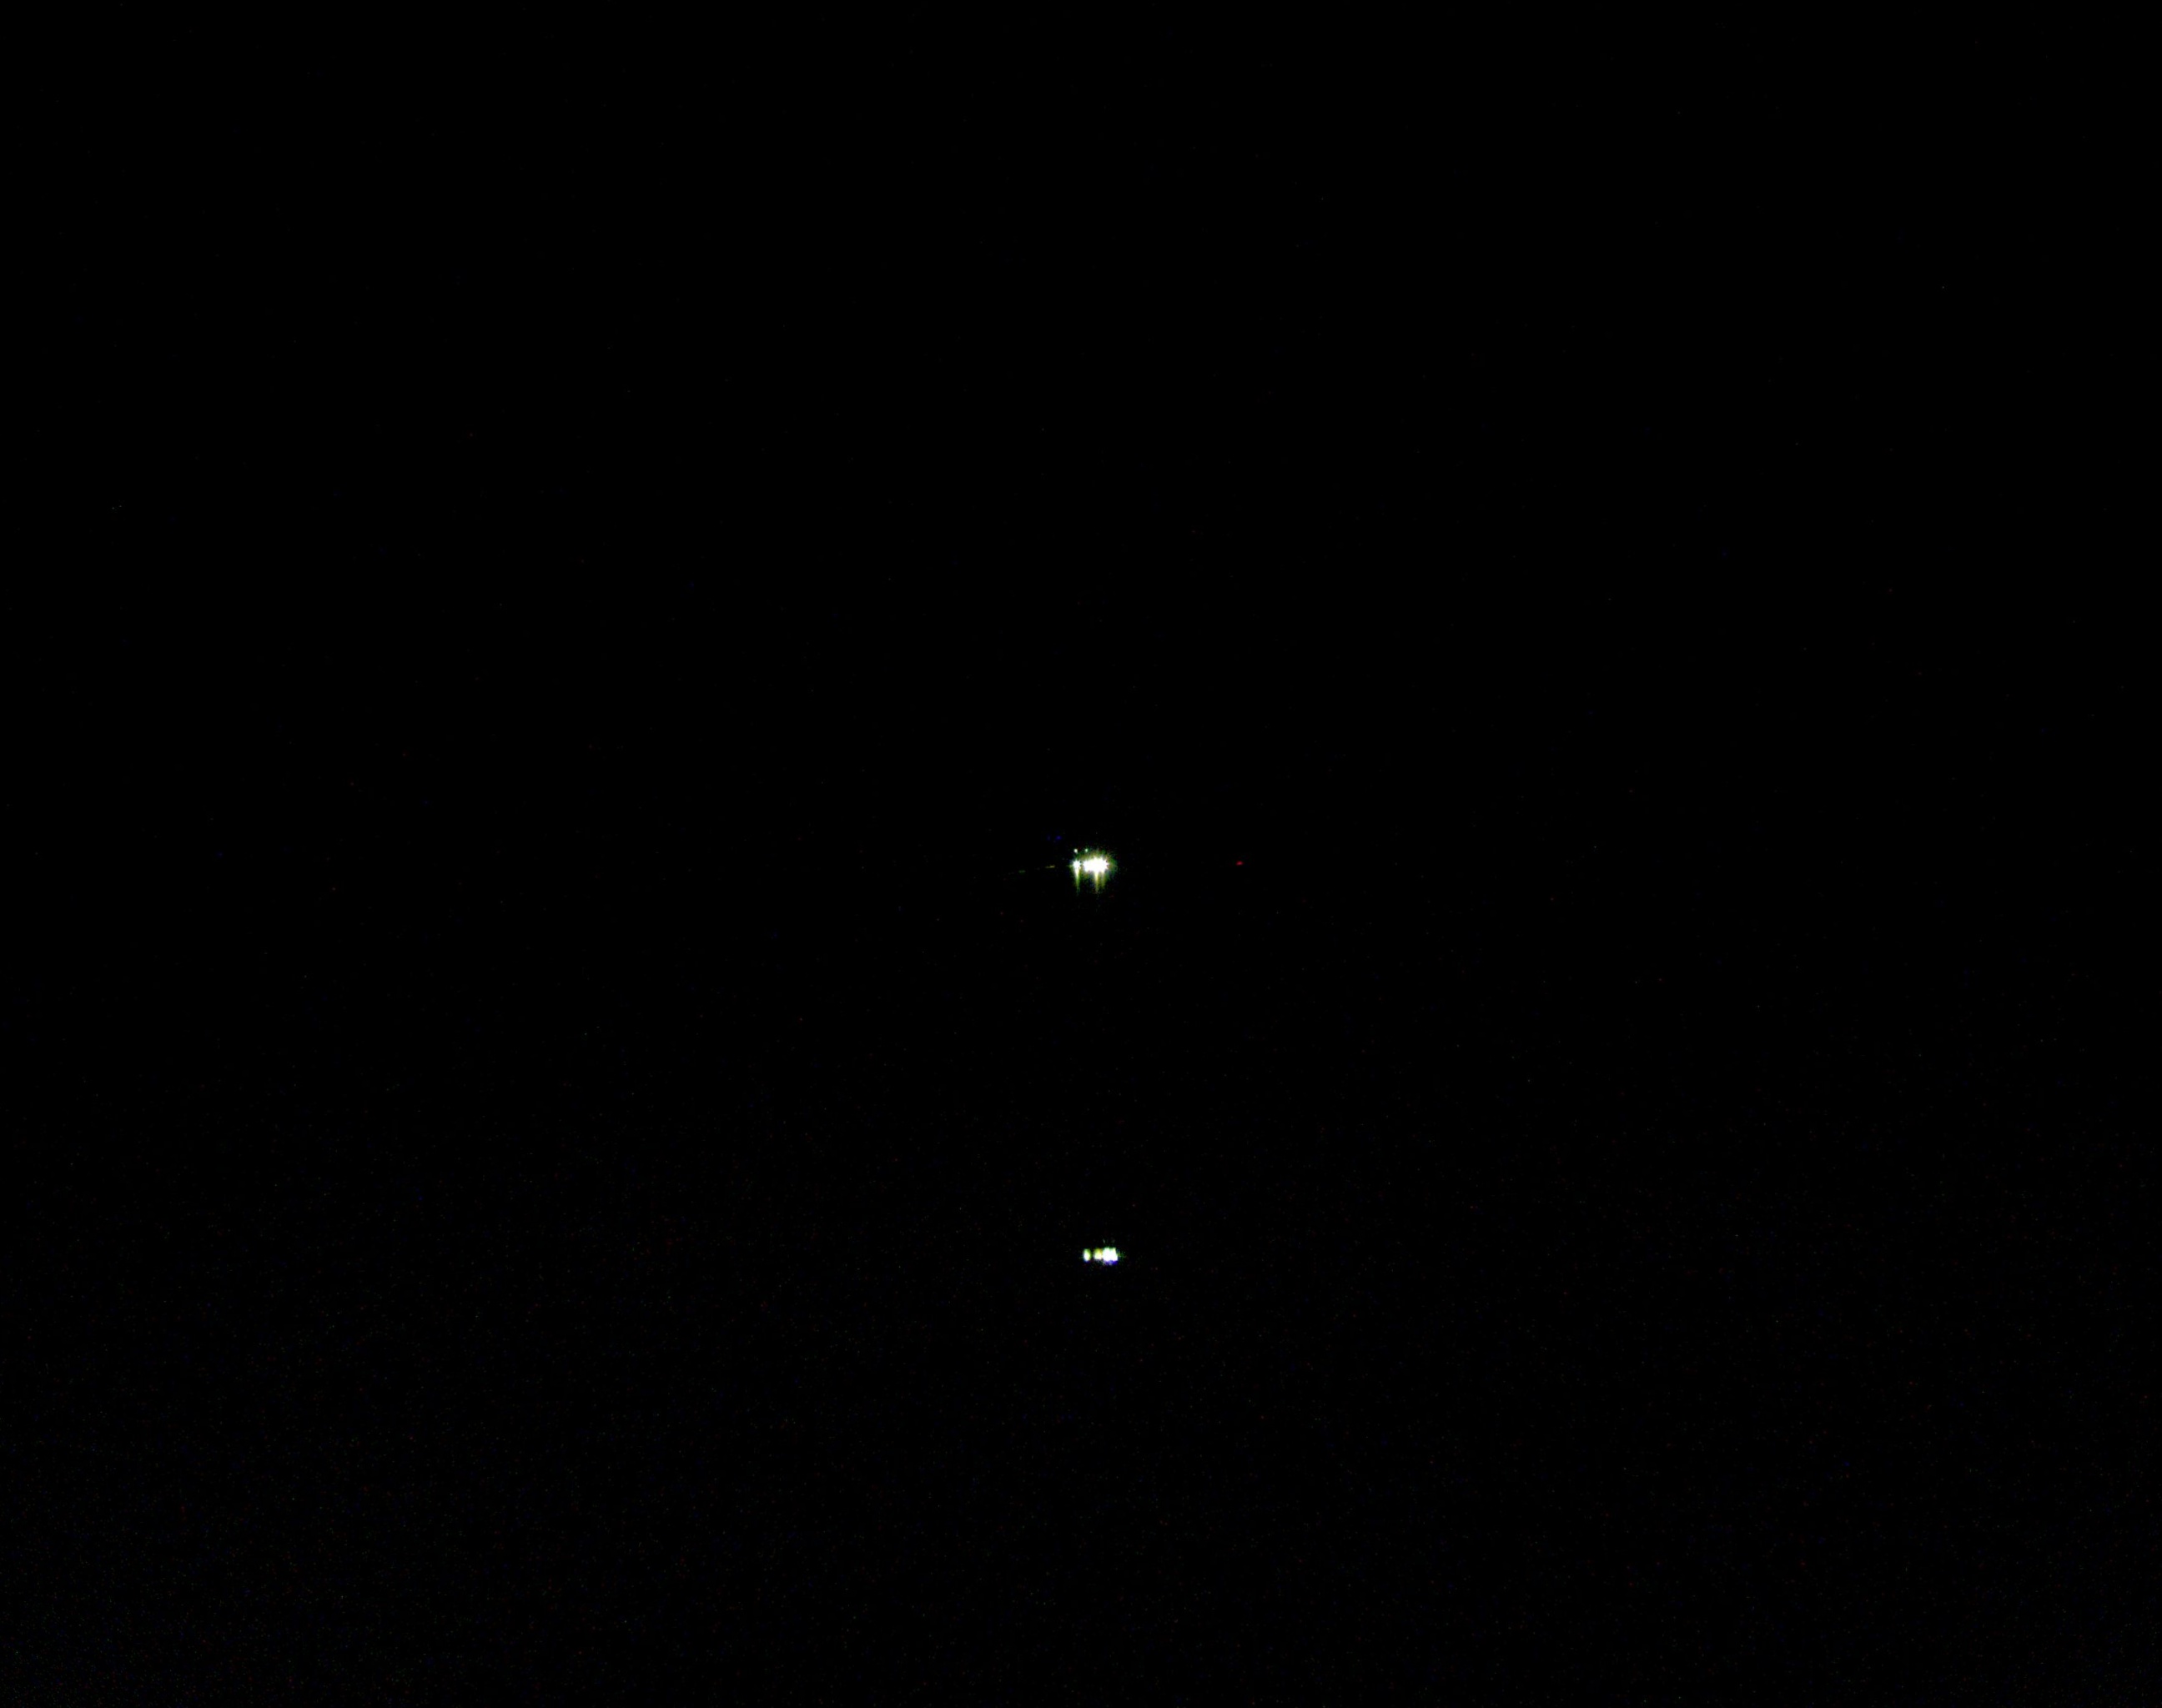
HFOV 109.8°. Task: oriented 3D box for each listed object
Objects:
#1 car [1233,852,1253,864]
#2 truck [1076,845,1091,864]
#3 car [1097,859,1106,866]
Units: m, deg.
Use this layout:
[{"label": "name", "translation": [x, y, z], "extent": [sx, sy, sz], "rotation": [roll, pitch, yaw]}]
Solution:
[{"label": "car", "translation": [23.936, 0.612, 112.544], "extent": [1.903, 1.636, 4.702], "rotation": [-1, 0, -1]}, {"label": "truck", "translation": [0.656, 0.172, 167.506], "extent": [3.003, 3.876, 12.890], "rotation": [-2, 0, 1]}, {"label": "car", "translation": [4.945, 2.008, 180.356], "extent": [1.845, 1.474, 4.294], "rotation": [-2, 0, 4]}]
